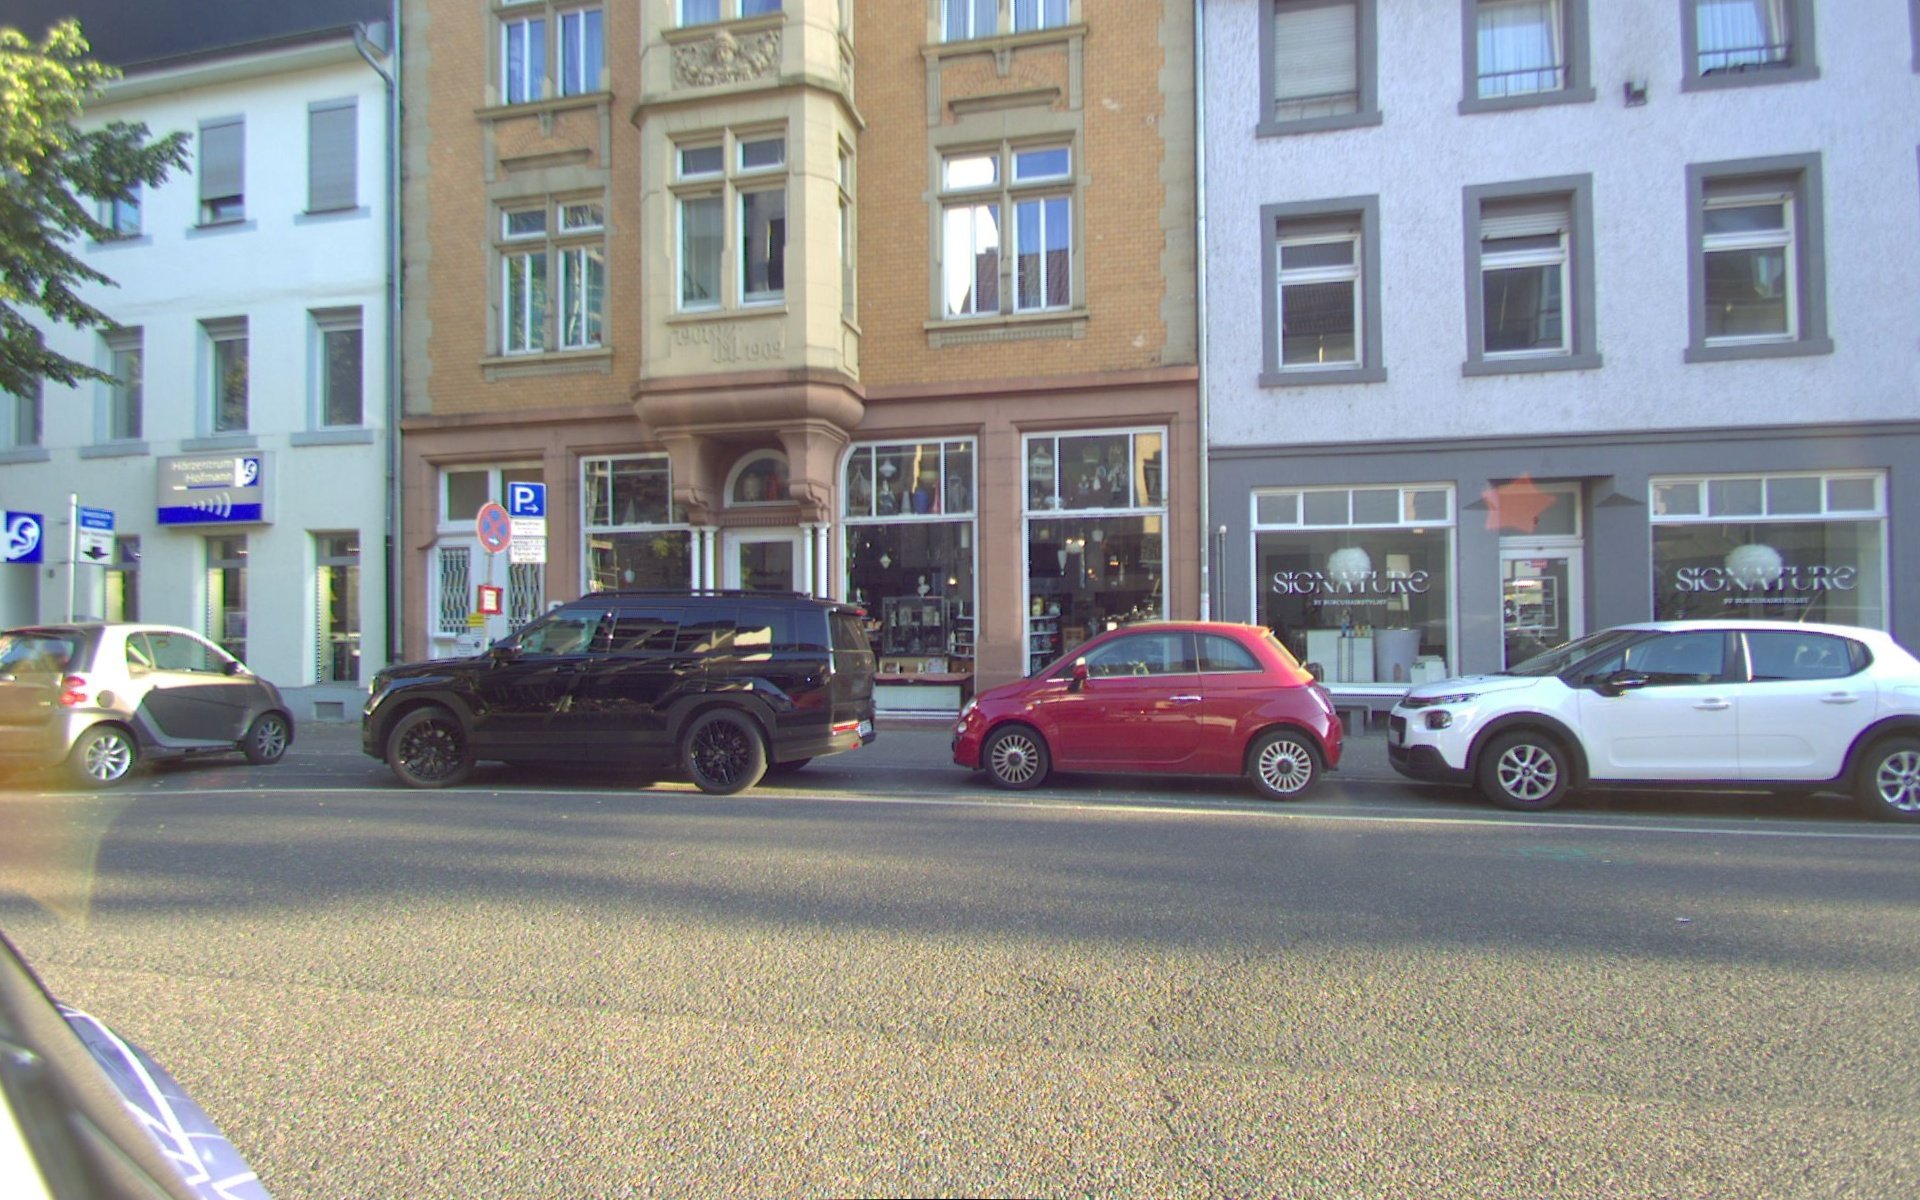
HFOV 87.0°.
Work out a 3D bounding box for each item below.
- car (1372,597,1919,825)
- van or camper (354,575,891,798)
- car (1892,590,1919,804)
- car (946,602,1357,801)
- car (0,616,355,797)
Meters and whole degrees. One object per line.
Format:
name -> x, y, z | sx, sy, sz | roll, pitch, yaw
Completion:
car -> 5.589, 0.842, 8.190 | 3.896, 1.585, 1.660 | -1, -3, 13
van or camper -> -2.986, 0.769, 9.495 | 4.407, 1.821, 1.891 | -1, -2, 8
car -> 9.725, 0.701, 7.003 | 4.414, 1.711, 1.793 | -1, -4, 12
car -> 1.697, 0.874, 9.275 | 3.389, 1.582, 1.523 | -1, -3, 14
car -> -8.396, 0.998, 10.754 | 1.491, 1.588, 3.470 | -1, -2, 10
